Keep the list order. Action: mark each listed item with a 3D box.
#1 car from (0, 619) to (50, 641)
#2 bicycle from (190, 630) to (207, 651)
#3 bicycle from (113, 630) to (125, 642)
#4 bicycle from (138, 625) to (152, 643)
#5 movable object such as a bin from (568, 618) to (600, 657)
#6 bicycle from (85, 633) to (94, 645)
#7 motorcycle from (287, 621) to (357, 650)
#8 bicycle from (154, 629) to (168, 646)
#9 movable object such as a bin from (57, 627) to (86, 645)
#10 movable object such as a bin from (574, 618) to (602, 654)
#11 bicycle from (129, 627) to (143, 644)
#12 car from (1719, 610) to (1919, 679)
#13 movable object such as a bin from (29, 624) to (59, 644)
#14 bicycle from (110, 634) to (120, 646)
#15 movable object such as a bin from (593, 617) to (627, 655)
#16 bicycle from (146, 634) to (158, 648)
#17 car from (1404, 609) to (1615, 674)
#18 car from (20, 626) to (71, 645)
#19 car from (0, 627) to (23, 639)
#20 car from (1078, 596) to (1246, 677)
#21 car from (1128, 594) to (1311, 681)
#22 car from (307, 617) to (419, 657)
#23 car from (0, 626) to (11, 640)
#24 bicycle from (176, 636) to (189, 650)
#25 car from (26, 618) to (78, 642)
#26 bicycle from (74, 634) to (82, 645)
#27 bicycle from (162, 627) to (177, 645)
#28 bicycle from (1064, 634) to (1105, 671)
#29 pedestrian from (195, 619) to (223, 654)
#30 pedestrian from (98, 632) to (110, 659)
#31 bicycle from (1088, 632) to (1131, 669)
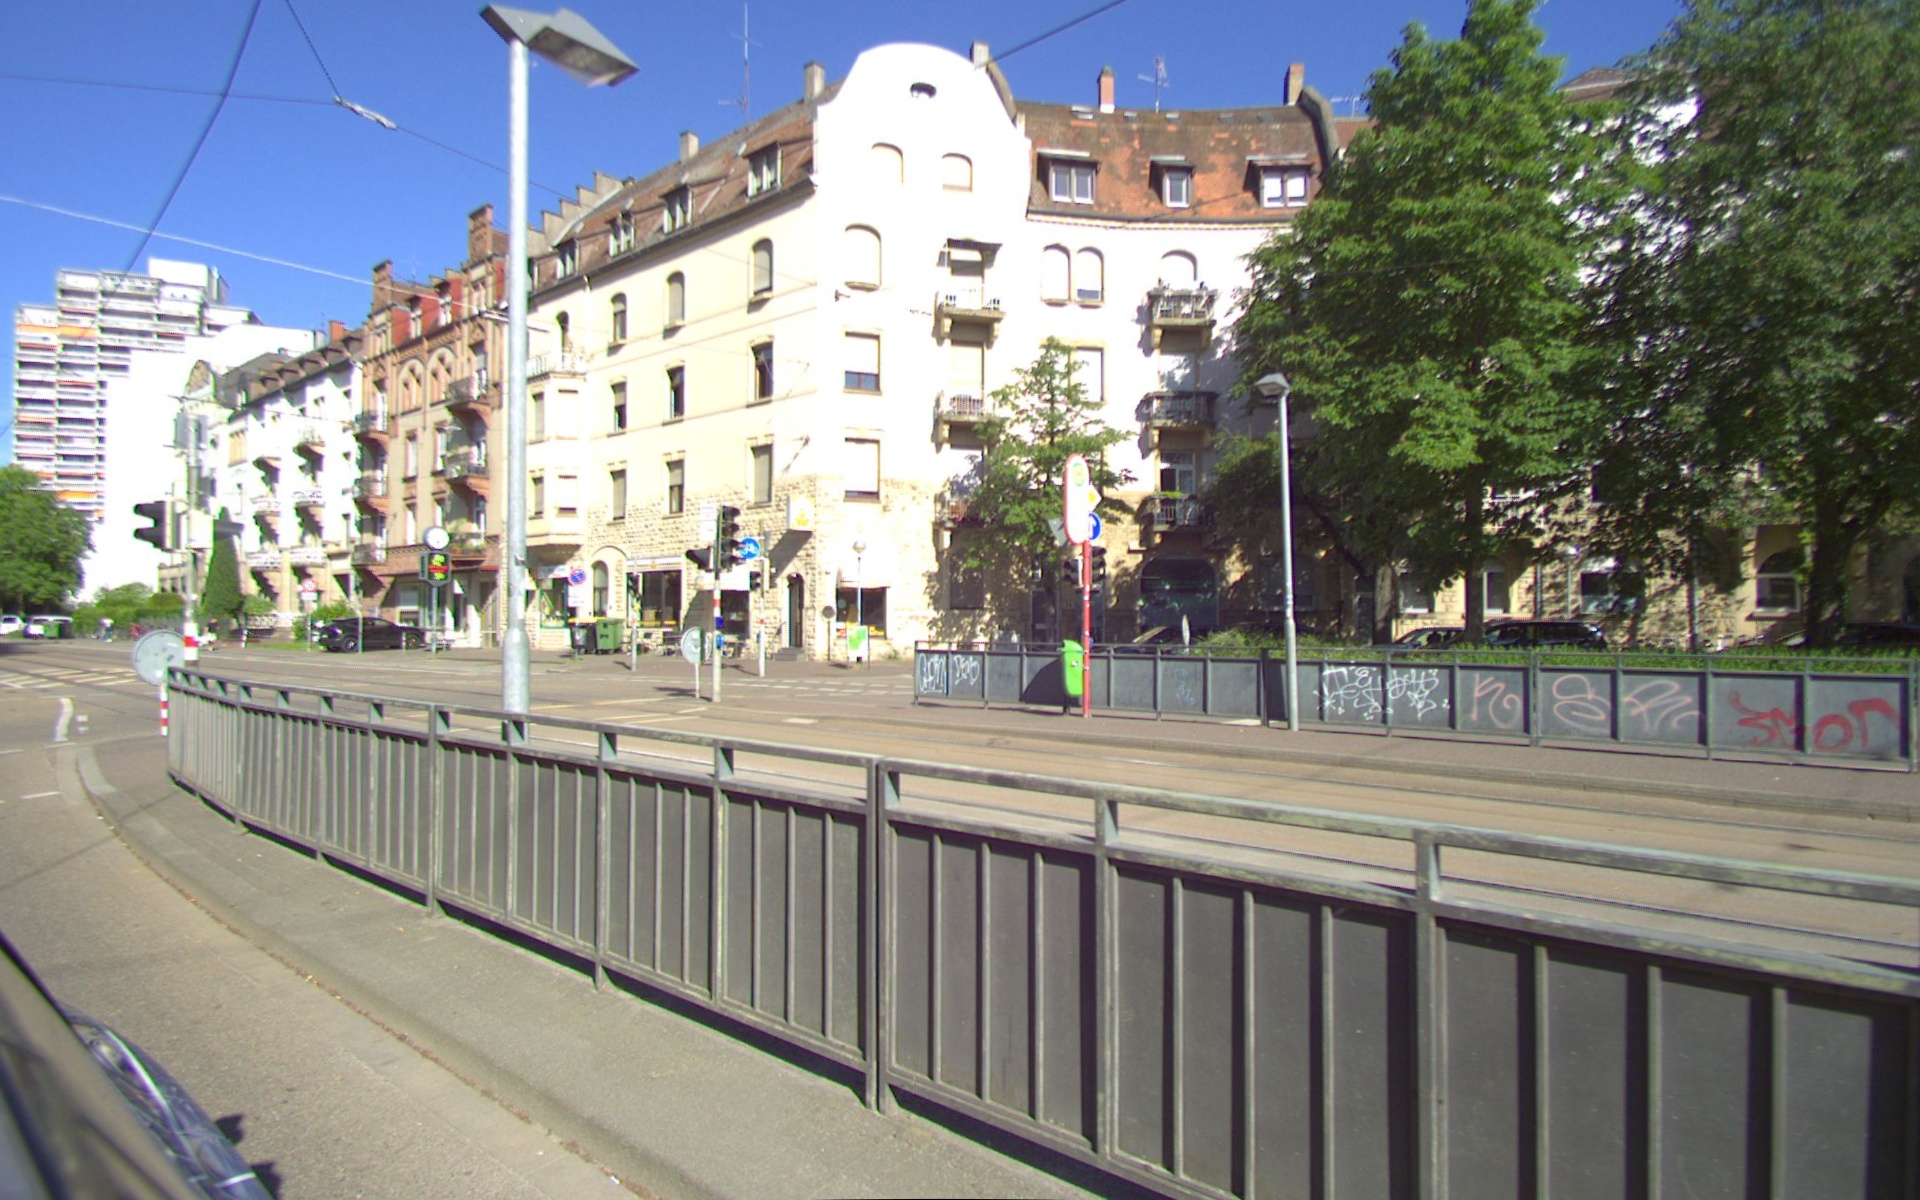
[{"bbox_3d":[-82.445,2.610,88.944,1.894,1.885,3.446,0,0,-4],"label":"car"},{"bbox_3d":[-41.243,2.188,54.821,1.748,1.047,0.400,0,0,42],"label":"bicycle"},{"bbox_3d":[-54.981,2.356,66.167,1.581,0.767,0.400,0,0,42],"label":"bicycle"},{"bbox_3d":[-49.817,2.085,61.839,1.815,1.031,0.400,0,0,42],"label":"bicycle"},{"bbox_3d":[-14.119,1.397,37.991,0.843,1.391,1.030,0,0,-37],"label":"movable object such as a bin"},{"bbox_3d":[-61.416,2.760,71.391,1.263,0.767,0.293,0,0,42],"label":"bicycle"},{"bbox_3d":[-33.871,1.859,53.764,0.822,1.467,3.054,-1,0,39],"label":"motorcycle"},{"bbox_3d":[-47.072,2.186,59.615,1.648,0.949,0.400,0,0,42],"label":"bicycle"},{"bbox_3d":[-69.713,2.834,79.359,2.095,1.326,1.481,-1,0,42],"label":"movable object such as a bin"},{"bbox_3d":[-14.266,1.379,38.836,0.843,1.335,0.658,0,0,-37],"label":"movable object such as a bin"},{"bbox_3d":[-51.592,2.190,63.327,1.815,1.031,0.400,0,0,42],"label":"bicycle"},{"bbox_3d":[19.432,0.981,22.347,3.981,1.442,1.737,-2,-3,28],"label":"car"},{"bbox_3d":[-70.088,2.585,77.441,2.095,1.443,1.493,-1,0,42],"label":"movable object such as a bin"},{"bbox_3d":[-56.090,2.672,67.195,1.263,0.767,0.335,0,0,42],"label":"bicycle"},{"bbox_3d":[-13.048,1.330,37.751,1.012,1.391,0.858,0,0,-4],"label":"movable object such as a bin"},{"bbox_3d":[-48.489,2.454,60.706,1.542,0.767,0.314,0,0,42],"label":"bicycle"},{"bbox_3d":[12.934,0.981,24.024,3.947,1.442,1.752,-1,-2,4],"label":"car"},{"bbox_3d":[-74.351,2.888,82.315,1.451,1.446,2.733,0,0,25],"label":"car"},{"bbox_3d":[-91.982,3.175,97.129,1.220,1.097,2.733,0,0,24],"label":"car"},{"bbox_3d":[5.406,0.917,27.218,3.931,2.029,2.006,0,0,-20],"label":"car"},{"bbox_3d":[6.417,0.872,25.138,3.931,2.029,2.006,0,0,-20],"label":"car"},{"bbox_3d":[-26.821,1.603,45.553,1.768,1.514,3.953,0,2,35],"label":"car"},{"bbox_3d":[-97.454,3.345,101.800,1.220,1.436,2.733,0,0,24],"label":"car"},{"bbox_3d":[-43.098,2.376,56.091,1.651,0.767,0.314,0,0,42],"label":"bicycle"},{"bbox_3d":[-72.073,2.396,80.377,1.438,1.787,3.189,0,-3,-4],"label":"car"},{"bbox_3d":[-64.950,2.901,74.535,1.263,0.767,0.293,0,0,42],"label":"bicycle"},{"bbox_3d":[-45.588,2.075,58.348,1.748,0.949,0.400,0,0,42],"label":"bicycle"},{"bbox_3d":[3.681,1.540,30.103,0.600,0.988,2.043,0,0,-11],"label":"bicycle"},{"bbox_3d":[-37.493,1.806,50.492,0.870,1.640,0.858,-1,4,42],"label":"pedestrian"},{"bbox_3d":[-53.312,2.839,63.040,0.659,1.641,0.469,-1,0,42],"label":"pedestrian"},{"bbox_3d":[4.447,1.496,30.269,0.600,0.988,2.043,0,0,-11],"label":"bicycle"}]
